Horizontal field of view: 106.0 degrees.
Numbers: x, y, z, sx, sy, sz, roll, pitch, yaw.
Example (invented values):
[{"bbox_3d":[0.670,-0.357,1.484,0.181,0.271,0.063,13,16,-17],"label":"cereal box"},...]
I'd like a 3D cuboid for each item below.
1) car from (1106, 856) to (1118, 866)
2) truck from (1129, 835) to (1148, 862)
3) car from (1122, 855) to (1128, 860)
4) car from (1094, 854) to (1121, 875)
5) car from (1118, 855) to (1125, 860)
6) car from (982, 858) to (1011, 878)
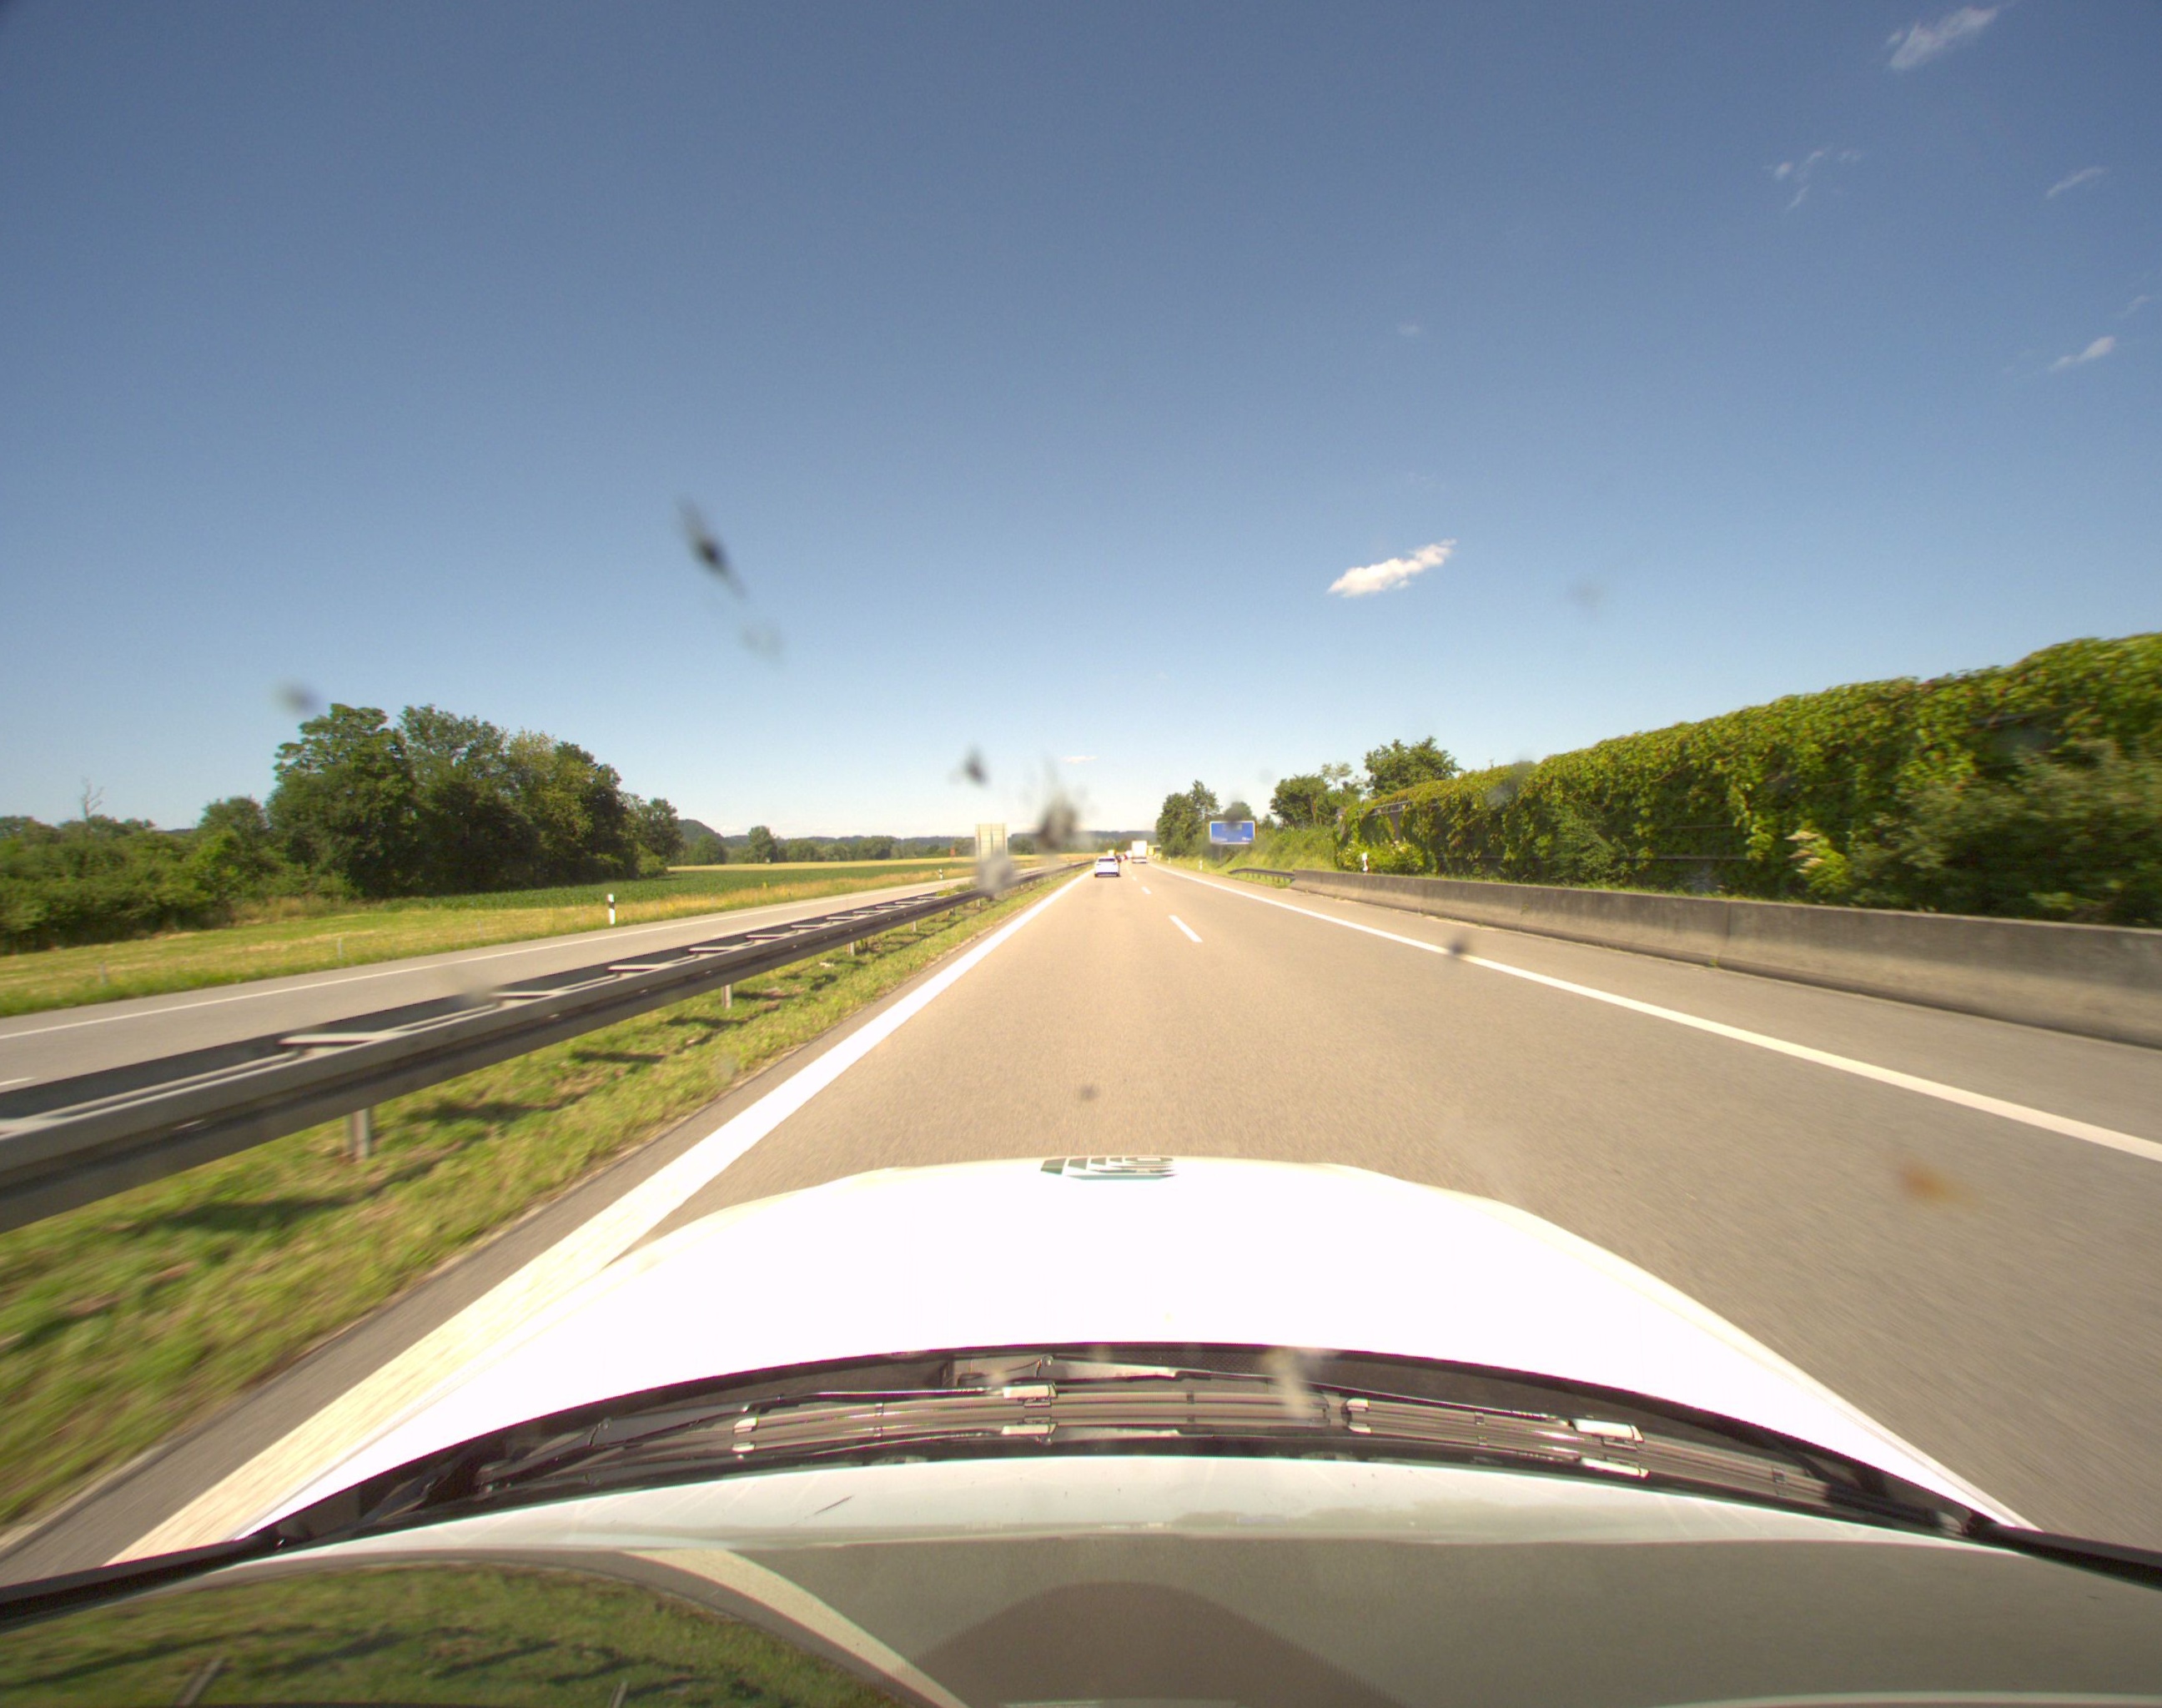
[{"bbox_3d":[4.773,1.003,123.062,1.764,1.421,4.498,-1,0,2],"label":"car"},{"bbox_3d":[10.233,-0.901,146.060,3.140,4.612,8.911,-2,0,3],"label":"truck"},{"bbox_3d":[12.178,0.926,225.076,1.763,1.421,4.370,-1,0,5],"label":"car"},{"bbox_3d":[1.887,0.706,58.144,1.833,1.421,5.257,0,0,2],"label":"car"},{"bbox_3d":[10.183,0.849,205.767,1.763,1.421,4.369,-1,0,4],"label":"car"},{"bbox_3d":[-7.870,1.254,76.363,1.986,1.661,4.778,-3,0,2],"label":"car"}]
